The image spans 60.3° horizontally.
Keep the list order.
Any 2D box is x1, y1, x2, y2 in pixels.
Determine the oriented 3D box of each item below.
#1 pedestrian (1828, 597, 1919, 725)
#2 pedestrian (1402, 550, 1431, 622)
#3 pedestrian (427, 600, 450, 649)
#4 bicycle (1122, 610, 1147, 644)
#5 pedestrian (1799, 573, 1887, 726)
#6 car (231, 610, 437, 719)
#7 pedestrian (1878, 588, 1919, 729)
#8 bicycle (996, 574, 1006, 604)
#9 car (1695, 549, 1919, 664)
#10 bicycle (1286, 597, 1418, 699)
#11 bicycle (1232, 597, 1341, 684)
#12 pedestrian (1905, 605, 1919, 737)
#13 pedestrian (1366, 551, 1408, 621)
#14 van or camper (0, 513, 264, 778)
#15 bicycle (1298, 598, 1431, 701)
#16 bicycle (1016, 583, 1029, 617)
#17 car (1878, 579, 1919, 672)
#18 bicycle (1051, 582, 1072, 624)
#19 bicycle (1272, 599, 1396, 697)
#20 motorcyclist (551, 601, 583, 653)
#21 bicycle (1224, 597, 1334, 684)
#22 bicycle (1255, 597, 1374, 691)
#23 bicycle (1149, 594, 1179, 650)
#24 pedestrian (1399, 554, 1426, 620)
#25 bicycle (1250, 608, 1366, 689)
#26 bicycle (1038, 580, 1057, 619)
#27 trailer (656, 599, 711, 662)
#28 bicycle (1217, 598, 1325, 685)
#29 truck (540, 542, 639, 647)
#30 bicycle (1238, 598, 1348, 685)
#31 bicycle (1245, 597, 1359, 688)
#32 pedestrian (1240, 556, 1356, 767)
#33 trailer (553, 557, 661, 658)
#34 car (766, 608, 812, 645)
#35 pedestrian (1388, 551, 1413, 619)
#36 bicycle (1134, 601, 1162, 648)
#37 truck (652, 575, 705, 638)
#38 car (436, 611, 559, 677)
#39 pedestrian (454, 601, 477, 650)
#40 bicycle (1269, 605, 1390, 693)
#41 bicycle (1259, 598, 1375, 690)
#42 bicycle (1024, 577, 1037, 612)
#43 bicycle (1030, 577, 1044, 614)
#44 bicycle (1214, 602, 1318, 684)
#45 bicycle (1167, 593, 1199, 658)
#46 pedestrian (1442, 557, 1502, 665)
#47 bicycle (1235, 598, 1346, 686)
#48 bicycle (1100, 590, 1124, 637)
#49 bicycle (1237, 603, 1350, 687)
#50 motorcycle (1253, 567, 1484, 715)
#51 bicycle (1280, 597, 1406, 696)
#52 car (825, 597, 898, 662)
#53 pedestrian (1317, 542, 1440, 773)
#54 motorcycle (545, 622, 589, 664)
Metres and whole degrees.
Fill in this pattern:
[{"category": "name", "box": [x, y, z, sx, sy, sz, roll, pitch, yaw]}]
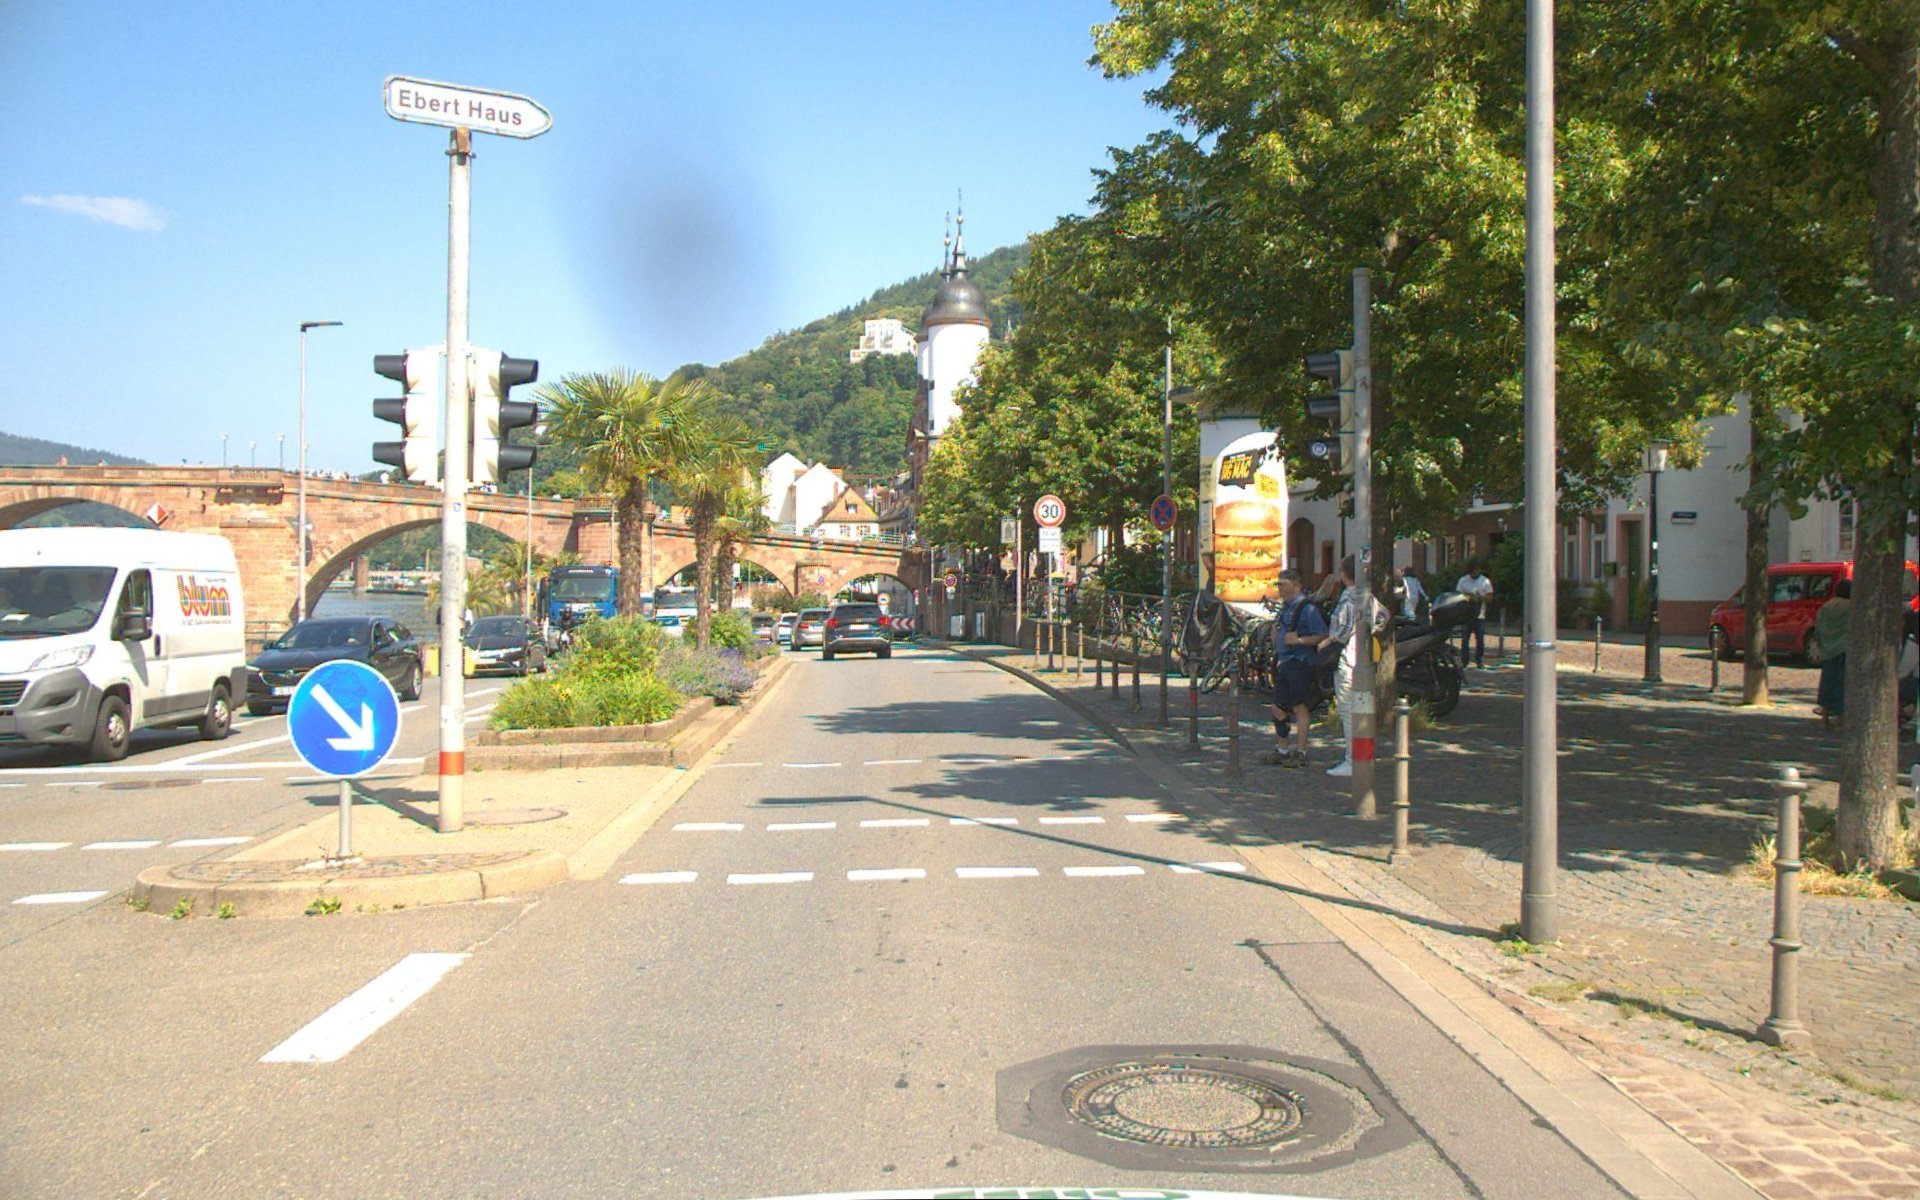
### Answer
[{"category": "pedestrian", "box": [9.727, 0.638, 17.473, 0.614, 1.304, 0.752, 2, 0, -11]}, {"category": "pedestrian", "box": [13.168, -0.410, 47.705, 0.622, 2.049, 0.644, 0, 0, -3]}, {"category": "pedestrian", "box": [-19.437, 0.893, 61.635, 0.748, 1.811, 0.694, 0, 0, -12]}, {"category": "bicycle", "box": [3.621, 0.559, 34.393, 0.245, 0.675, 1.467, 0, 0, -5]}, {"category": "pedestrian", "box": [9.131, 0.500, 17.122, 0.451, 1.543, 0.688, 1, 0, -11]}, {"category": "car", "box": [-10.161, 0.980, 27.255, 1.783, 1.481, 4.925, -2, 1, -4]}, {"category": "pedestrian", "box": [9.795, 0.590, 16.769, 0.614, 1.406, 0.540, 2, 0, -12]}, {"category": "bicycle", "box": [1.577, -0.411, 63.572, 0.348, 1.115, 1.489, 2, 0, 2]}, {"category": "car", "box": [15.613, 0.065, 30.241, 1.955, 1.935, 4.628, 0, 1, -6]}, {"category": "bicycle", "box": [4.581, 0.555, 19.333, 1.456, 1.139, 0.377, -1, 0, -9]}, {"category": "bicycle", "box": [4.480, 0.550, 22.705, 1.456, 1.139, 0.250, -1, 0, -9]}, {"category": "pedestrian", "box": [9.695, 0.693, 15.950, 0.681, 1.274, 0.762, 0, 0, -11]}, {"category": "pedestrian", "box": [12.075, -0.390, 46.790, 0.949, 1.948, 0.747, 0, 0, -3]}, {"category": "van or camper", "box": [-9.659, 0.463, 18.369, 1.955, 2.492, 5.487, -2, 0, -6]}, {"category": "bicycle", "box": [4.634, 0.560, 18.954, 1.455, 1.139, 0.294, -1, 0, -6]}, {"category": "bicycle", "box": [2.085, -0.004, 54.972, 0.245, 1.115, 1.487, 2, 0, -4]}, {"category": "car", "box": [15.952, 0.406, 25.317, 1.642, 1.457, 3.467, 0, 0, -6]}, {"category": "bicycle", "box": [2.759, 0.087, 45.009, 0.339, 1.115, 1.487, 2, 0, -4]}, {"category": "bicycle", "box": [4.550, 0.579, 20.128, 1.456, 1.139, 0.293, -1, 0, -9]}, {"category": "motorcyclist", "box": [-11.704, 0.795, 49.247, 0.721, 1.496, 1.011, 0, 0, -1]}, {"category": "bicycle", "box": [4.425, 0.554, 22.922, 1.456, 1.139, 0.250, -3, 0, -9]}, {"category": "bicycle", "box": [4.490, 0.555, 20.950, 1.456, 1.139, 0.250, -1, 0, -9]}, {"category": "bicycle", "box": [3.846, 0.406, 31.261, 0.245, 1.028, 1.487, 0, 0, -5]}, {"category": "pedestrian", "box": [12.850, -0.377, 46.975, 0.574, 1.872, 0.596, 0, 0, -4]}, {"category": "bicycle", "box": [4.522, 0.623, 21.493, 1.456, 0.996, 0.250, -1, 0, -9]}, {"category": "bicycle", "box": [2.567, -0.021, 48.572, 0.270, 1.115, 1.487, -5, 0, -4]}, {"category": "trailer", "box": [-16.402, 1.723, 98.662, 2.606, 3.463, 10.155, 0, 0, -6]}, {"category": "bicycle", "box": [4.359, 0.574, 23.196, 1.456, 1.139, 0.250, -3, 0, -9]}, {"category": "truck", "box": [-12.598, -0.204, 56.589, 2.605, 3.463, 4.447, 0, 0, -4]}, {"category": "bicycle", "box": [4.530, 0.554, 22.490, 1.456, 1.139, 0.250, -1, 0, -9]}, {"category": "bicycle", "box": [4.498, 0.552, 21.738, 1.456, 1.139, 0.250, -1, 0, -9]}, {"category": "pedestrian", "box": [2.848, 0.500, 14.002, 0.681, 1.706, 0.762, -2, 1, -11]}, {"category": "trailer", "box": [-12.855, 0.213, 60.949, 2.605, 3.463, 8.820, 0, 0, -3]}, {"category": "car", "box": [-8.062, 1.224, 78.149, 1.954, 1.580, 4.829, 0, 1, -4]}, {"category": "pedestrian", "box": [13.271, -0.454, 49.867, 0.574, 2.049, 0.596, 0, 0, -4]}, {"category": "bicycle", "box": [3.726, 0.475, 32.844, 0.245, 0.920, 1.487, 0, 0, -5]}, {"category": "truck", "box": [-15.824, 0.351, 93.197, 2.607, 3.463, 5.128, 0, 0, -6]}, {"category": "car", "box": [-11.184, 1.056, 40.264, 1.913, 1.437, 4.216, -2, -1, -2]}, {"category": "pedestrian", "box": [-18.445, 0.935, 61.752, 0.748, 1.811, 0.694, 0, 0, -12]}, {"category": "bicycle", "box": [4.632, 0.604, 20.719, 1.456, 1.050, 0.293, -1, 0, -9]}, {"category": "bicycle", "box": [4.581, 0.561, 21.228, 1.456, 1.139, 0.250, -1, 0, -9]}, {"category": "bicycle", "box": [2.248, -0.172, 52.890, 0.245, 1.115, 1.487, 2, 0, -4]}, {"category": "bicycle", "box": [2.378, -0.146, 50.968, 0.245, 1.115, 1.487, 2, 0, -4]}, {"category": "bicycle", "box": [4.352, 0.607, 23.495, 1.456, 1.139, 0.250, 0, 0, -9]}, {"category": "bicycle", "box": [3.996, 0.446, 29.728, 0.245, 1.139, 1.487, 0, 0, -5]}, {"category": "pedestrian", "box": [8.094, 0.165, 26.152, 0.693, 1.682, 0.706, 0, 0, -4]}, {"category": "bicycle", "box": [4.443, 0.558, 22.225, 1.456, 1.139, 0.250, -1, 0, -9]}, {"category": "bicycle", "box": [3.435, 0.298, 37.431, 0.245, 1.017, 1.487, 2, 0, -5]}, {"category": "bicycle", "box": [4.430, 0.592, 21.976, 1.456, 1.065, 0.250, -1, 0, -9]}, {"category": "motorcycle", "box": [4.315, 0.429, 17.584, 2.253, 1.491, 0.761, -1, -1, 37]}, {"category": "bicycle", "box": [4.591, 0.554, 19.833, 1.456, 1.139, 0.293, -1, 0, -9]}, {"category": "car", "box": [-2.726, 0.758, 45.308, 1.888, 1.580, 4.828, 0, 1, -4]}, {"category": "pedestrian", "box": [3.407, 0.447, 13.505, 0.681, 1.802, 0.762, -2, 1, -11]}, {"category": "motorcycle", "box": [-11.712, 1.268, 49.343, 0.742, 1.151, 2.455, 0, 0, 0]}]
